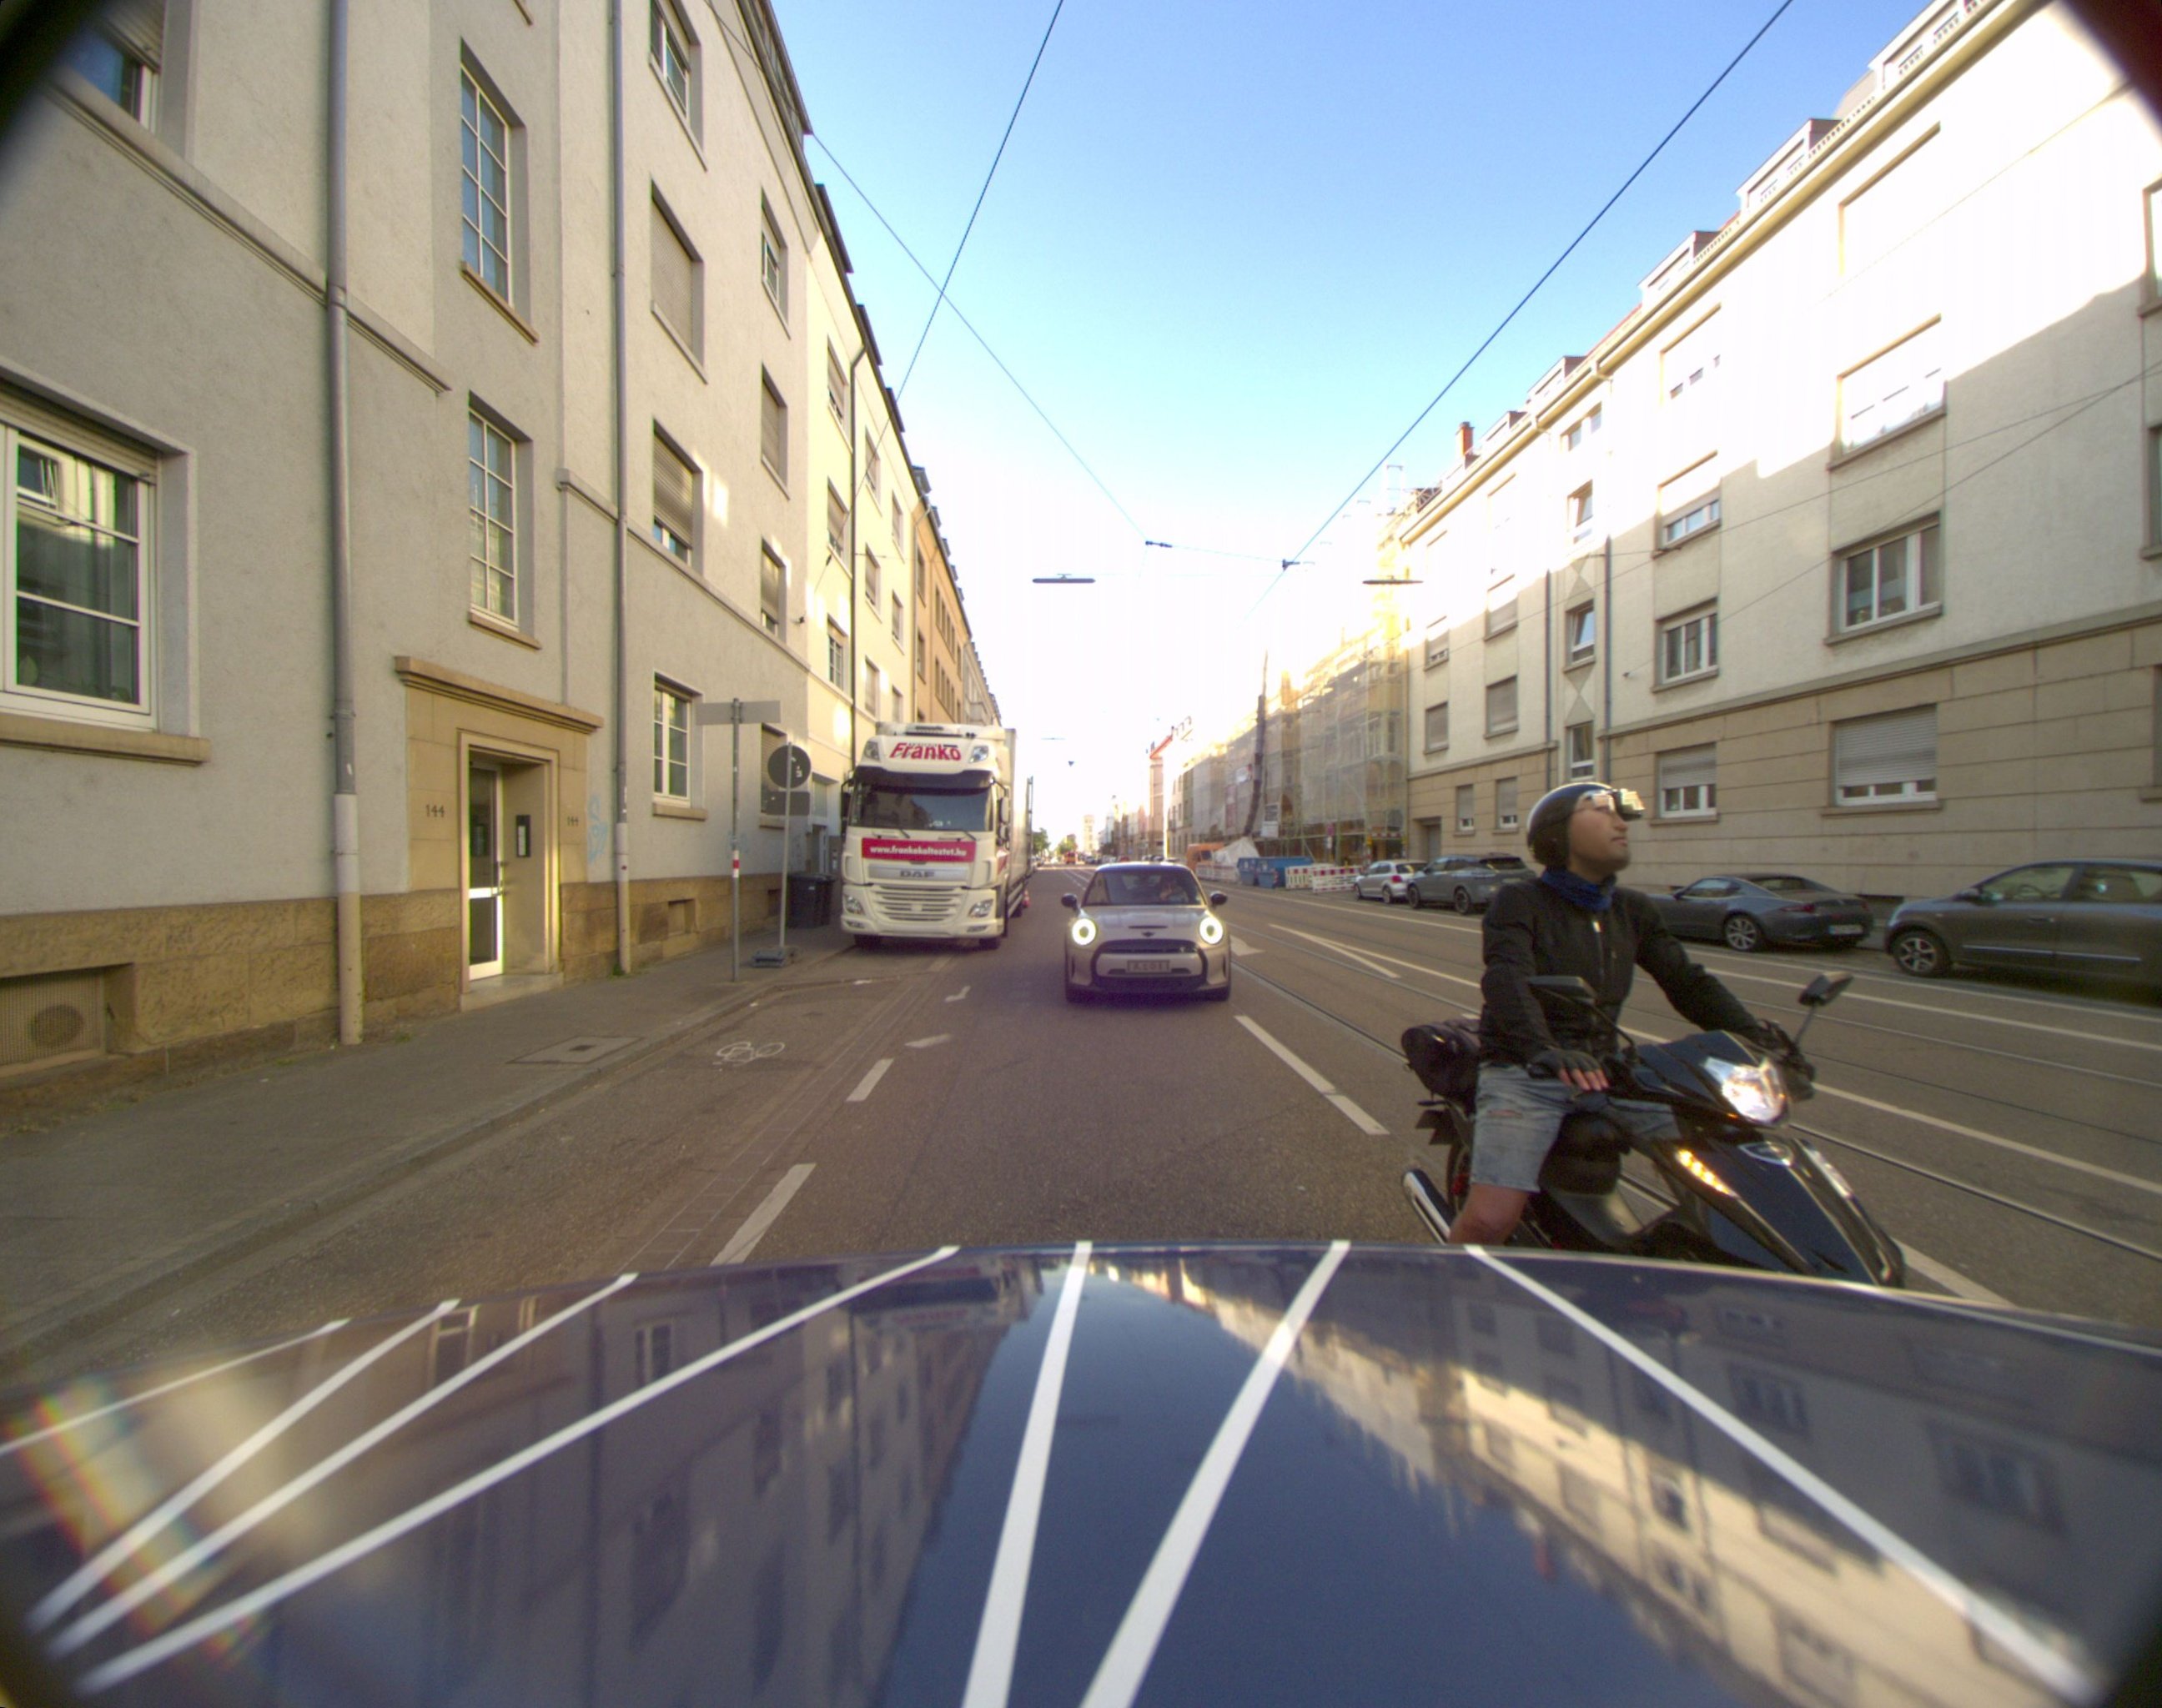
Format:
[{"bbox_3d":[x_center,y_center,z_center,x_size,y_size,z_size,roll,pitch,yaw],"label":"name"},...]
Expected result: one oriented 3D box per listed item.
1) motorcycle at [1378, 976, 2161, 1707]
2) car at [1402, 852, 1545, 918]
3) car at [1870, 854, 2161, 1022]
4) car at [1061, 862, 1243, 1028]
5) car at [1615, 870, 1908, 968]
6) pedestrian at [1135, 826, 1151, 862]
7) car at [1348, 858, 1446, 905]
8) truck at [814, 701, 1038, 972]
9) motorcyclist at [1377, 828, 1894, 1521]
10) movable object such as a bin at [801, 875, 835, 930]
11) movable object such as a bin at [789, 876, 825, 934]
[{"bbox_3d":[1.358,1.070,1.776,0.538,1.212,1.981,-2,1,1],"label":"motorcycle"},{"bbox_3d":[10.805,0.766,21.295,1.712,1.582,4.112,-2,1,-3],"label":"car"},{"bbox_3d":[11.429,0.836,8.418,1.670,1.563,3.496,-2,1,-2],"label":"car"},{"bbox_3d":[0.655,0.866,9.056,1.692,1.495,4.000,0,0,0],"label":"car"},{"bbox_3d":[11.260,0.988,12.935,1.751,1.269,3.488,-2,1,-4],"label":"car"},{"bbox_3d":[7.710,-1.285,94.333,1.723,4.377,1.153,-2,1,2],"label":"pedestrian"},{"bbox_3d":[10.633,0.869,25.849,1.637,1.383,3.643,-2,1,-3],"label":"car"},{"bbox_3d":[-2.618,-0.253,17.160,2.899,3.939,11.704,-2,0,-2],"label":"truck"},{"bbox_3d":[1.328,0.703,1.954,0.862,1.496,0.598,-2,1,1],"label":"motorcyclist"},{"bbox_3d":[-5.392,0.989,15.608,0.512,1.085,0.495,-2,1,-4],"label":"movable object such as a bin"},{"bbox_3d":[-5.406,0.993,15.008,0.512,1.085,0.495,-2,1,-4],"label":"movable object such as a bin"}]
